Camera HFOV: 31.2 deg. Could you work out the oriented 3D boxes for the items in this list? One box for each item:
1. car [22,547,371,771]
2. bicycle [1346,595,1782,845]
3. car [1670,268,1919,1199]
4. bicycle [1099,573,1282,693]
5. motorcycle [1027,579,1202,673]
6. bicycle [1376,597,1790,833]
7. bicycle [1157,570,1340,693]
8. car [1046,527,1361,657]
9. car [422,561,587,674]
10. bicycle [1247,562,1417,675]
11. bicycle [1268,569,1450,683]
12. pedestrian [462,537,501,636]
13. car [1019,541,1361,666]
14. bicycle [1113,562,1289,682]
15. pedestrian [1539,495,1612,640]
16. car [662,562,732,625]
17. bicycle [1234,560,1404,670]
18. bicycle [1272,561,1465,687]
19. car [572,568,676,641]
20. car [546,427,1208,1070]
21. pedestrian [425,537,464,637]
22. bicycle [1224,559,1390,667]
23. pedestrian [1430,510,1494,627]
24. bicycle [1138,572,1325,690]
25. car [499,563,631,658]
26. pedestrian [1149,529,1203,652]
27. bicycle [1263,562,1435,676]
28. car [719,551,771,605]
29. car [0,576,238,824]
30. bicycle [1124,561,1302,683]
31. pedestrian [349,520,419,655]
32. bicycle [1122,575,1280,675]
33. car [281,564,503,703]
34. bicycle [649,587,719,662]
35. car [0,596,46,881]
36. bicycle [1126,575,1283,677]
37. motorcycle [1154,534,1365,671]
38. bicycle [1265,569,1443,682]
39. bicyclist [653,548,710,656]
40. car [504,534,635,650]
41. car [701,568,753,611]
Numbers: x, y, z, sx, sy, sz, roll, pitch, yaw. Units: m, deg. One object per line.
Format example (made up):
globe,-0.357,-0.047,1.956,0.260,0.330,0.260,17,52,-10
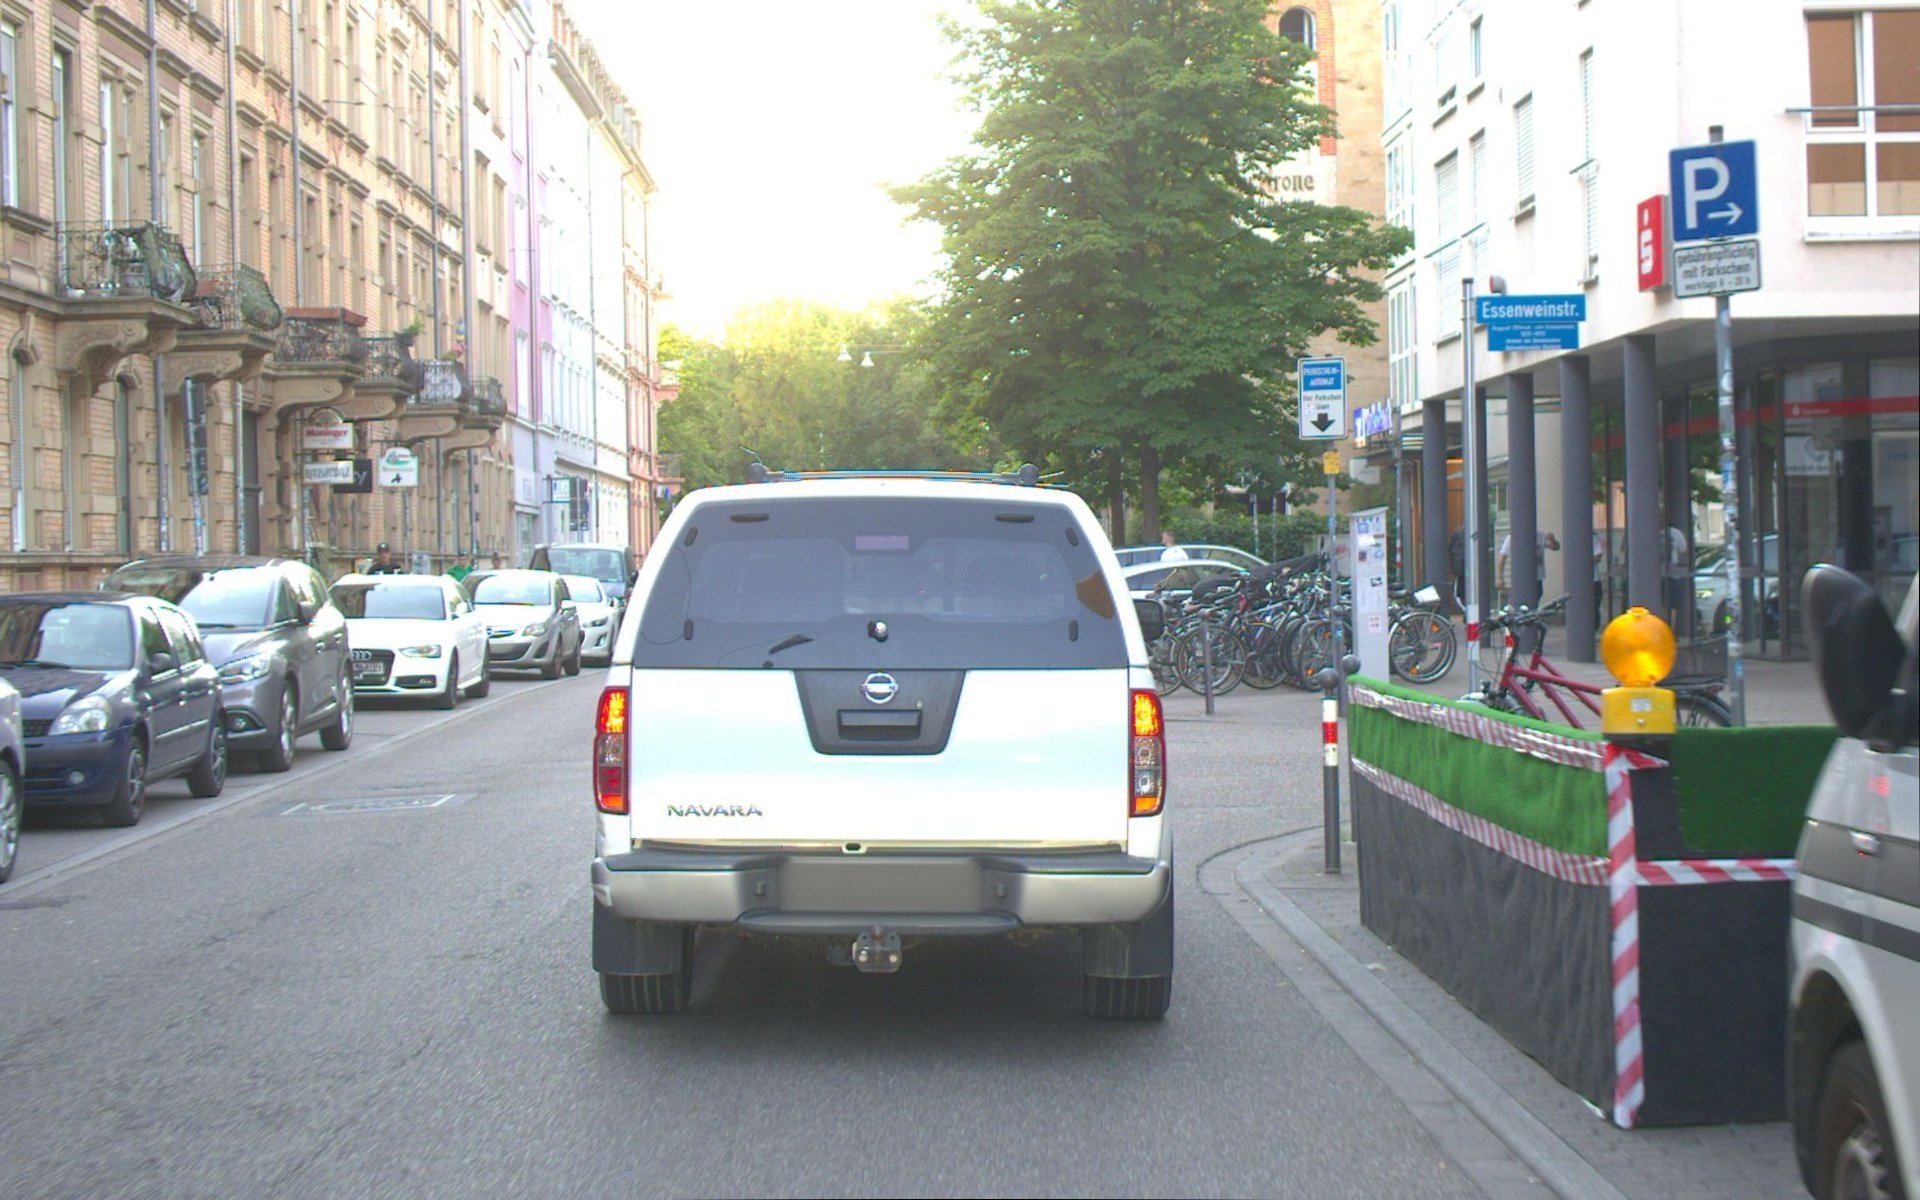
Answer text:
car,-5.976,0.399,27.408,1.853,1.628,4.446,0,1,-1
bicycle,2.911,0.595,16.687,1.942,1.131,0.656,-3,0,37
car,2.485,0.445,4.471,1.958,1.967,5.003,-3,1,0
bicycle,2.326,0.333,34.850,1.722,1.114,0.707,-3,0,-2
motorcycle,1.965,0.328,43.695,2.057,1.074,0.664,-3,0,-16
bicycle,3.176,0.600,17.631,1.942,1.131,0.656,-3,0,37
bicycle,2.843,0.308,33.993,1.722,1.114,0.707,-3,0,3
car,3.544,-0.133,50.574,4.398,1.642,1.746,-3,1,-1
car,-6.239,0.205,47.464,1.717,1.452,4.000,1,1,0
bicycle,3.999,0.194,37.003,1.722,1.114,0.653,-3,0,3
bicycle,4.005,0.255,34.603,1.722,1.050,0.653,-3,0,3
pedestrian,-8.720,-0.249,62.689,0.605,1.766,0.777,2,1,-5
car,3.171,0.036,47.808,4.422,1.450,1.780,-3,1,-7
bicycle,2.706,0.243,38.648,1.869,1.178,0.743,-5,0,4
pedestrian,7.485,-0.399,41.804,0.663,1.717,0.662,-1,2,26
car,-7.208,-0.199,94.630,1.844,1.653,4.253,-1,0,-4
bicycle,3.971,0.162,38.085,1.722,1.114,0.654,-3,0,-4
bicycle,3.985,0.233,33.577,1.722,1.128,0.579,-3,0,-12
car,-6.739,0.089,69.386,1.736,1.413,4.779,1,0,-1
car,-0.154,0.407,12.618,1.911,1.847,5.270,1,0,2
pedestrian,-9.366,-0.245,62.452,0.580,1.765,0.998,2,1,-5
bicycle,3.906,0.148,38.805,1.722,1.114,0.654,-3,0,-4
pedestrian,7.558,-0.466,51.769,0.727,1.710,0.963,-3,0,-1
bicycle,2.805,0.314,35.643,1.809,1.114,0.707,-3,0,-2
car,-6.276,0.136,55.025,1.783,1.418,4.486,1,1,-3
pedestrian,3.081,-0.137,49.068,0.625,1.747,0.588,0,-1,-12
bicycle,4.114,0.197,36.434,1.722,1.114,0.653,-3,0,3
car,-8.190,-0.841,130.657,1.810,1.970,4.187,1,0,-5
car,-5.827,0.579,22.127,1.585,1.416,3.696,0,1,0
bicycle,2.787,0.237,37.806,1.789,1.178,0.733,-5,0,10
pedestrian,-7.586,-0.163,45.310,0.554,1.749,1.022,-1,-1,14
bicycle,2.841,0.294,40.639,1.772,1.019,0.565,-5,0,2
car,-6.184,0.327,37.865,1.758,1.407,4.509,0,1,-1
bicycle,-4.239,0.364,52.974,0.645,1.077,2.168,-3,1,6
car,-5.635,0.705,15.797,1.722,1.416,4.582,0,0,-1
bicycle,2.836,0.299,40.020,1.719,1.028,0.667,-5,0,2
motorcycle,3.719,0.036,42.804,2.492,1.544,0.824,-3,0,2
bicycle,4.031,0.258,35.275,1.722,1.050,0.653,-3,0,3
bicyclist,-4.272,0.019,52.797,0.645,1.615,0.918,-3,1,6
car,-6.795,-0.163,60.251,1.993,1.917,4.952,1,1,-3
car,-7.890,-0.357,116.583,1.698,1.421,4.022,1,0,-3
